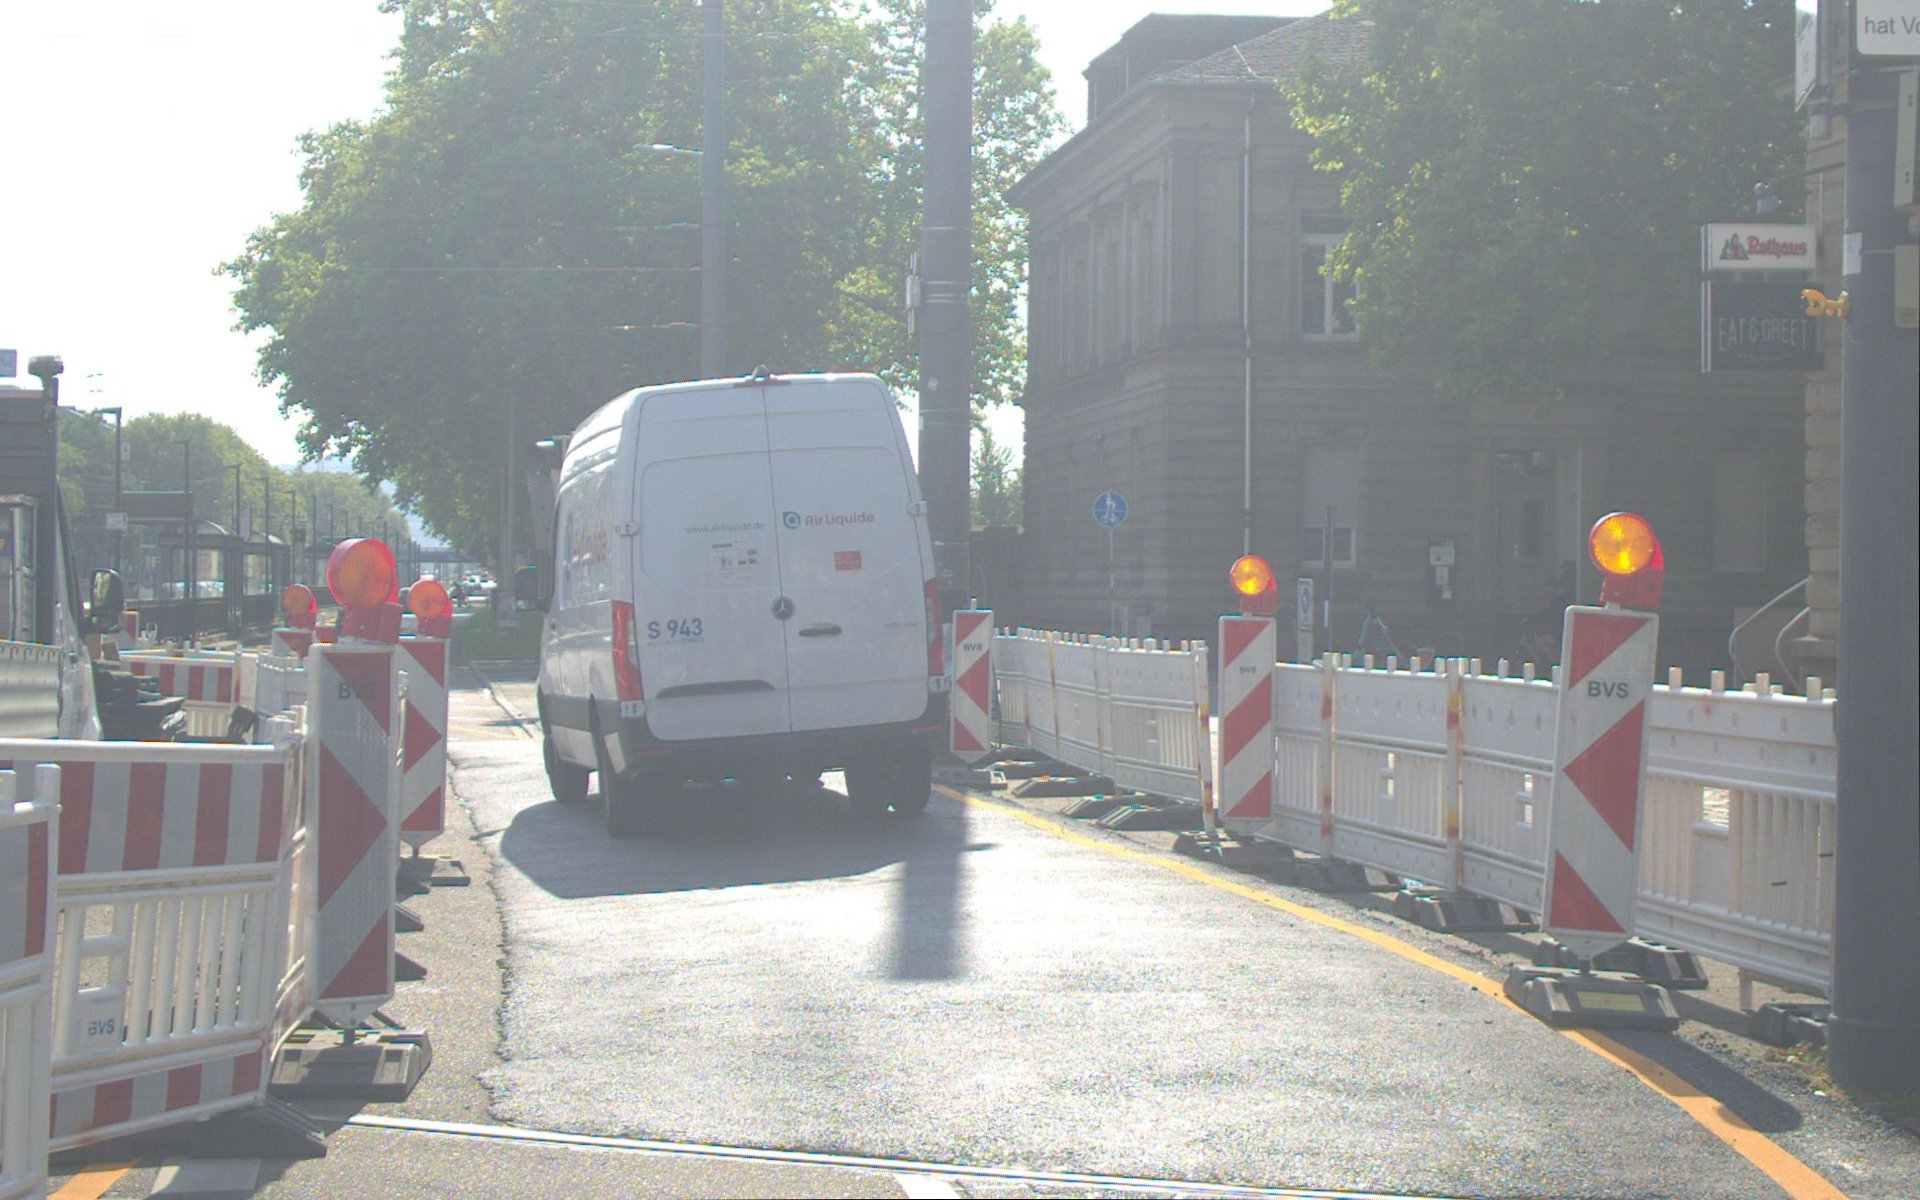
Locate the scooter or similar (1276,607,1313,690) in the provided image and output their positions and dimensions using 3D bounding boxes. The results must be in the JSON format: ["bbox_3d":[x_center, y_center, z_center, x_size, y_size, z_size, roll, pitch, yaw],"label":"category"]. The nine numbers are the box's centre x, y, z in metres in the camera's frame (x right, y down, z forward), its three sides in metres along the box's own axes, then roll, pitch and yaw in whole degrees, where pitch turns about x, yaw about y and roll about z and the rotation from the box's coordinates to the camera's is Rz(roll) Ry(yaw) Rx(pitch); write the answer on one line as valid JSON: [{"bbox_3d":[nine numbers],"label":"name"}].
[{"bbox_3d":[5.094,0.734,52.414,0.425,1.224,1.173,0,1,-1],"label":"scooter or similar"}]

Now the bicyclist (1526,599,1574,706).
[{"bbox_3d":[8.510,0.751,49.578,0.594,1.534,0.470,0,0,-2],"label":"bicyclist"}]

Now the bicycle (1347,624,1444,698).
[{"bbox_3d":[6.548,0.907,51.765,0.491,0.996,1.818,0,3,-27],"label":"bicycle"}]

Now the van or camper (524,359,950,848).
[{"bbox_3d":[-1.571,-0.028,21.910,2.115,2.673,5.252,-2,1,-9],"label":"van or camper"}]

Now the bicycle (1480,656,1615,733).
[{"bbox_3d":[8.472,1.366,49.585,1.851,1.085,0.493,0,0,-1],"label":"bicycle"}]

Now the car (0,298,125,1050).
[{"bbox_3d":[-4.791,0.238,14.215,2.207,2.416,7.201,0,0,-10],"label":"car"}]
